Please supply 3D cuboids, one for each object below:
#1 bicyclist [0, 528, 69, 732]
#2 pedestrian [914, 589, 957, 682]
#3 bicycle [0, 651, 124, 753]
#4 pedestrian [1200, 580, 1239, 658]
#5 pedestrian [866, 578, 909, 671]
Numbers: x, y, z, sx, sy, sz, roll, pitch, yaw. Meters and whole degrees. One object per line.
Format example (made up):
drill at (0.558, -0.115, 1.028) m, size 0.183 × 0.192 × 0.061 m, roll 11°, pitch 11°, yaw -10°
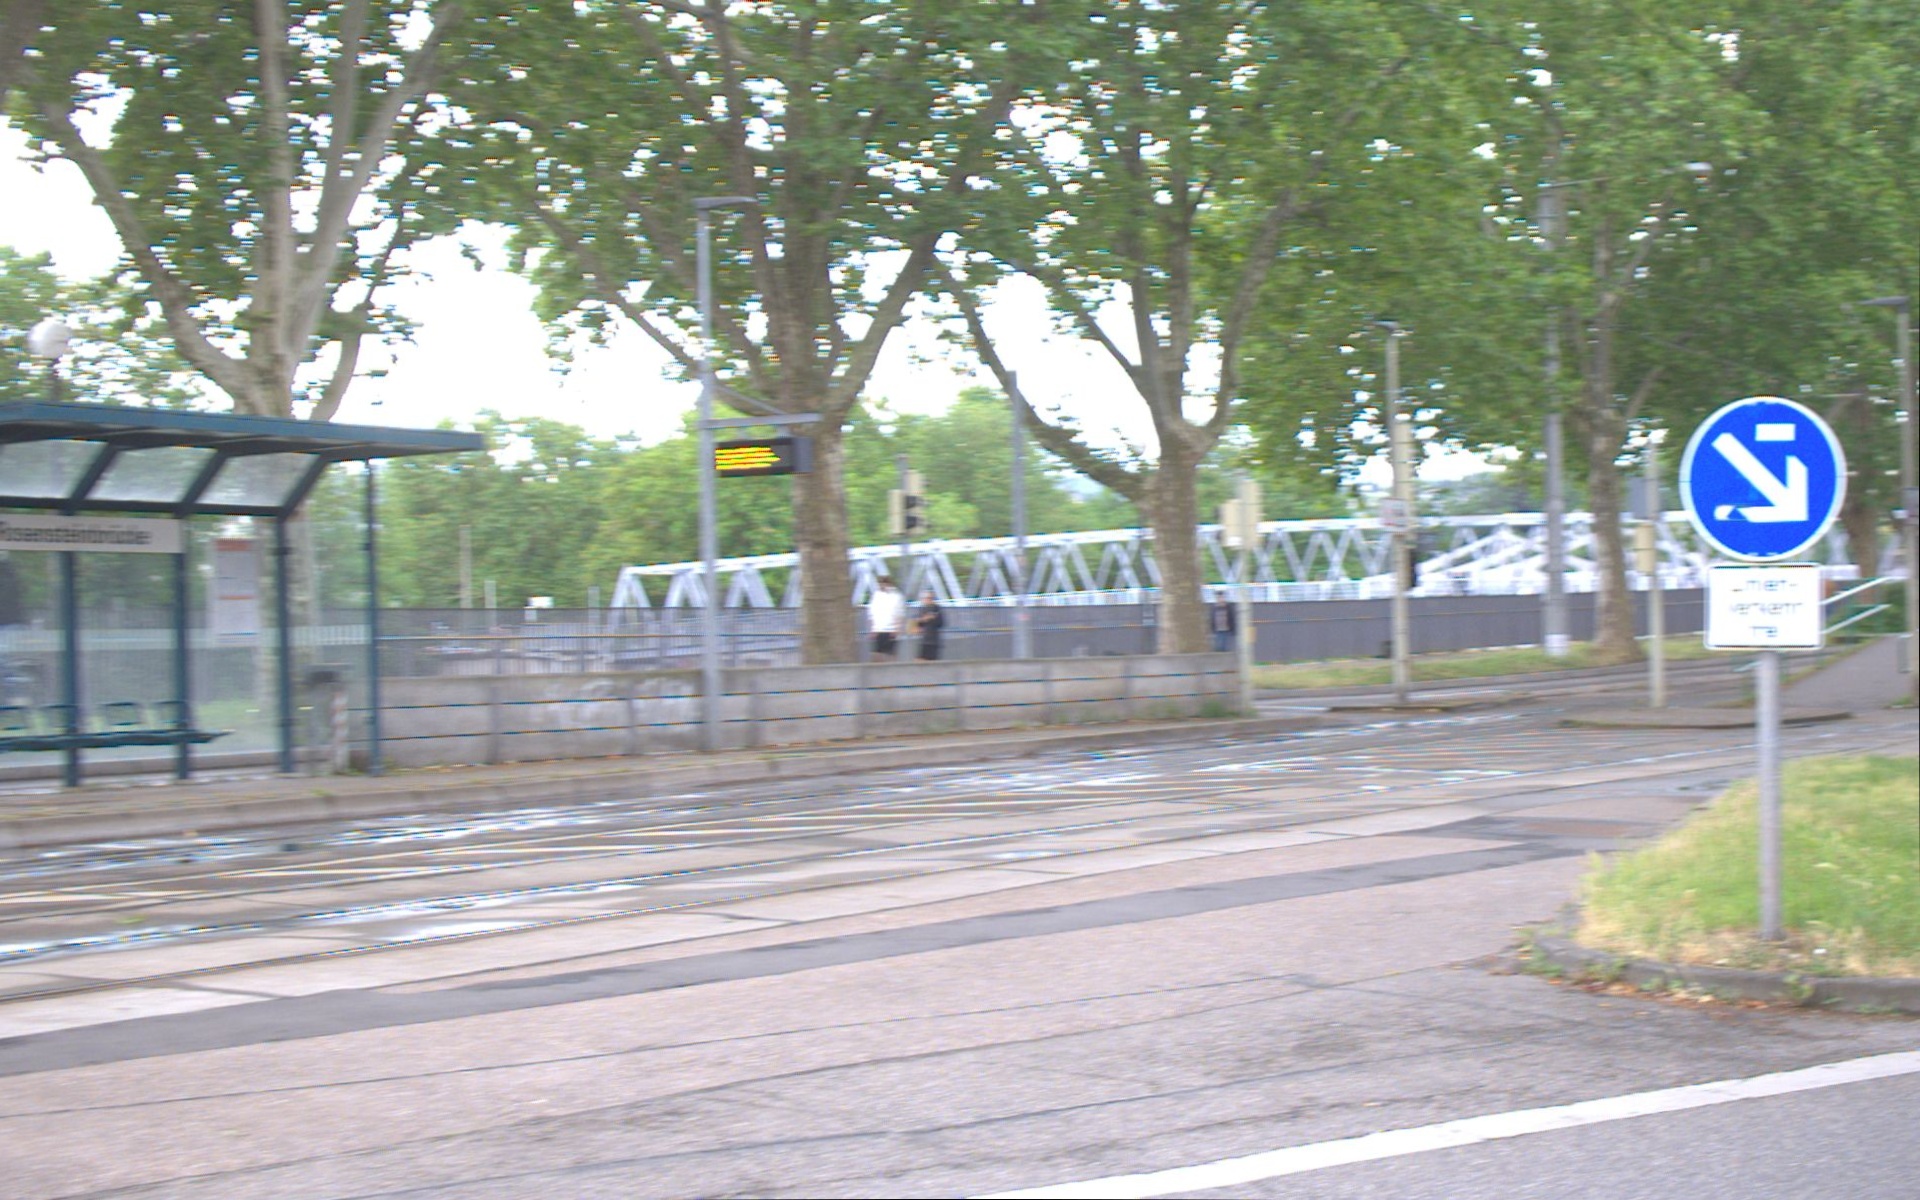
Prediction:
bicyclist at (-9.678, 0.320, 34.610) m, size 0.956 × 2.007 × 0.976 m, roll -2°, pitch -3°, yaw 30°
pedestrian at (-0.376, 0.561, 53.810) m, size 0.472 × 1.446 × 0.510 m, roll -2°, pitch -3°, yaw 26°
bicycle at (-9.650, 1.035, 34.628) m, size 0.933 × 1.011 × 2.493 m, roll -2°, pitch -3°, yaw 29°
pedestrian at (5.023, 0.368, 66.426) m, size 0.545 × 1.493 × 0.643 m, roll 0°, pitch 0°, yaw 26°
pedestrian at (-1.139, 0.385, 54.183) m, size 0.472 × 1.446 × 0.510 m, roll -2°, pitch -3°, yaw 26°
